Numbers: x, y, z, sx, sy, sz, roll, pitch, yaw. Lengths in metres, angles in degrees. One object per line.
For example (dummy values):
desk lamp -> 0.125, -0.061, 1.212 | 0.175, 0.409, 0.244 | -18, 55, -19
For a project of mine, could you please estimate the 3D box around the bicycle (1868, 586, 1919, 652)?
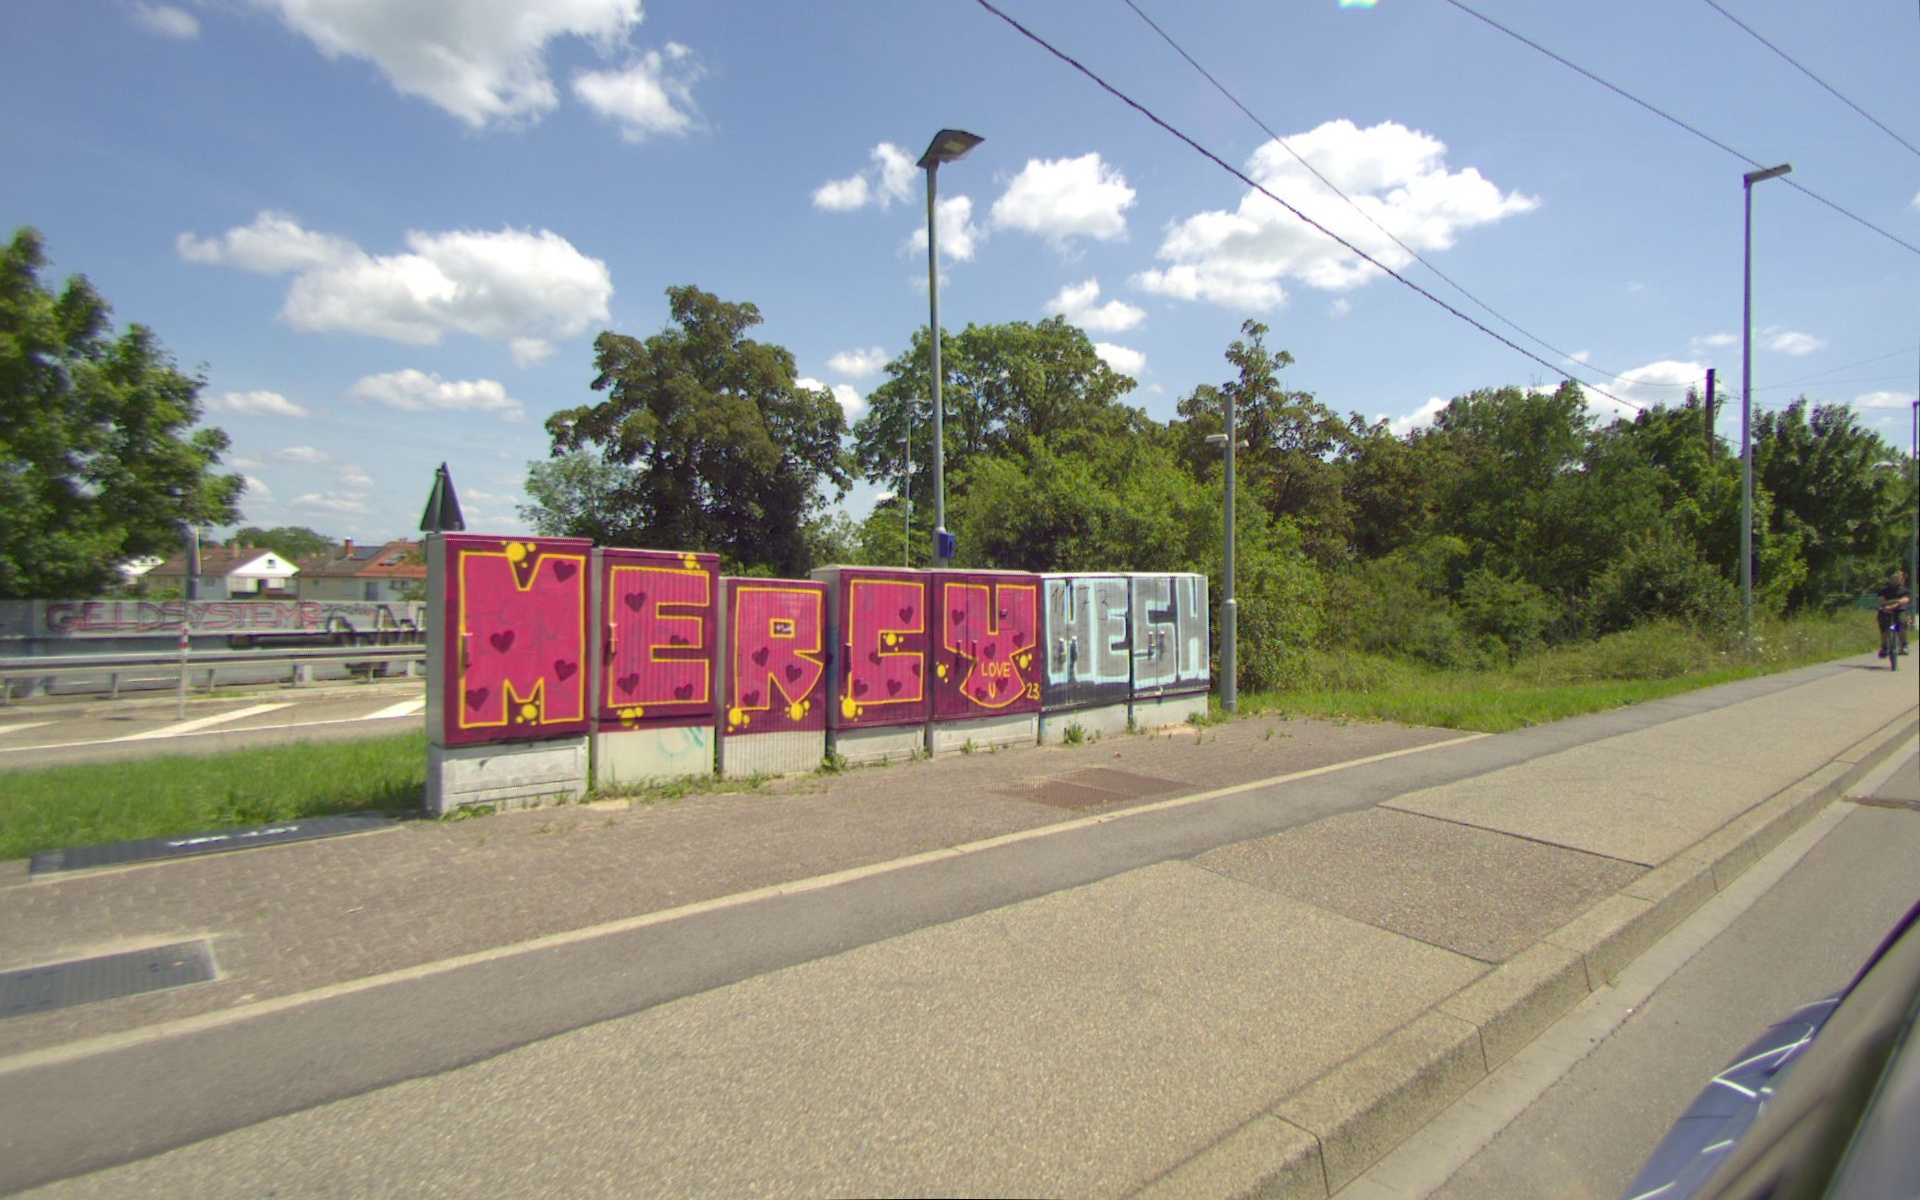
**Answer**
bicycle -> 17.268, 0.357, 18.646 | 1.820, 1.167, 0.433 | 1, -2, -37

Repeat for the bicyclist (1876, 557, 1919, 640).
bicyclist -> 17.565, -0.025, 18.872 | 0.547, 1.514, 0.587 | 1, -2, -36
